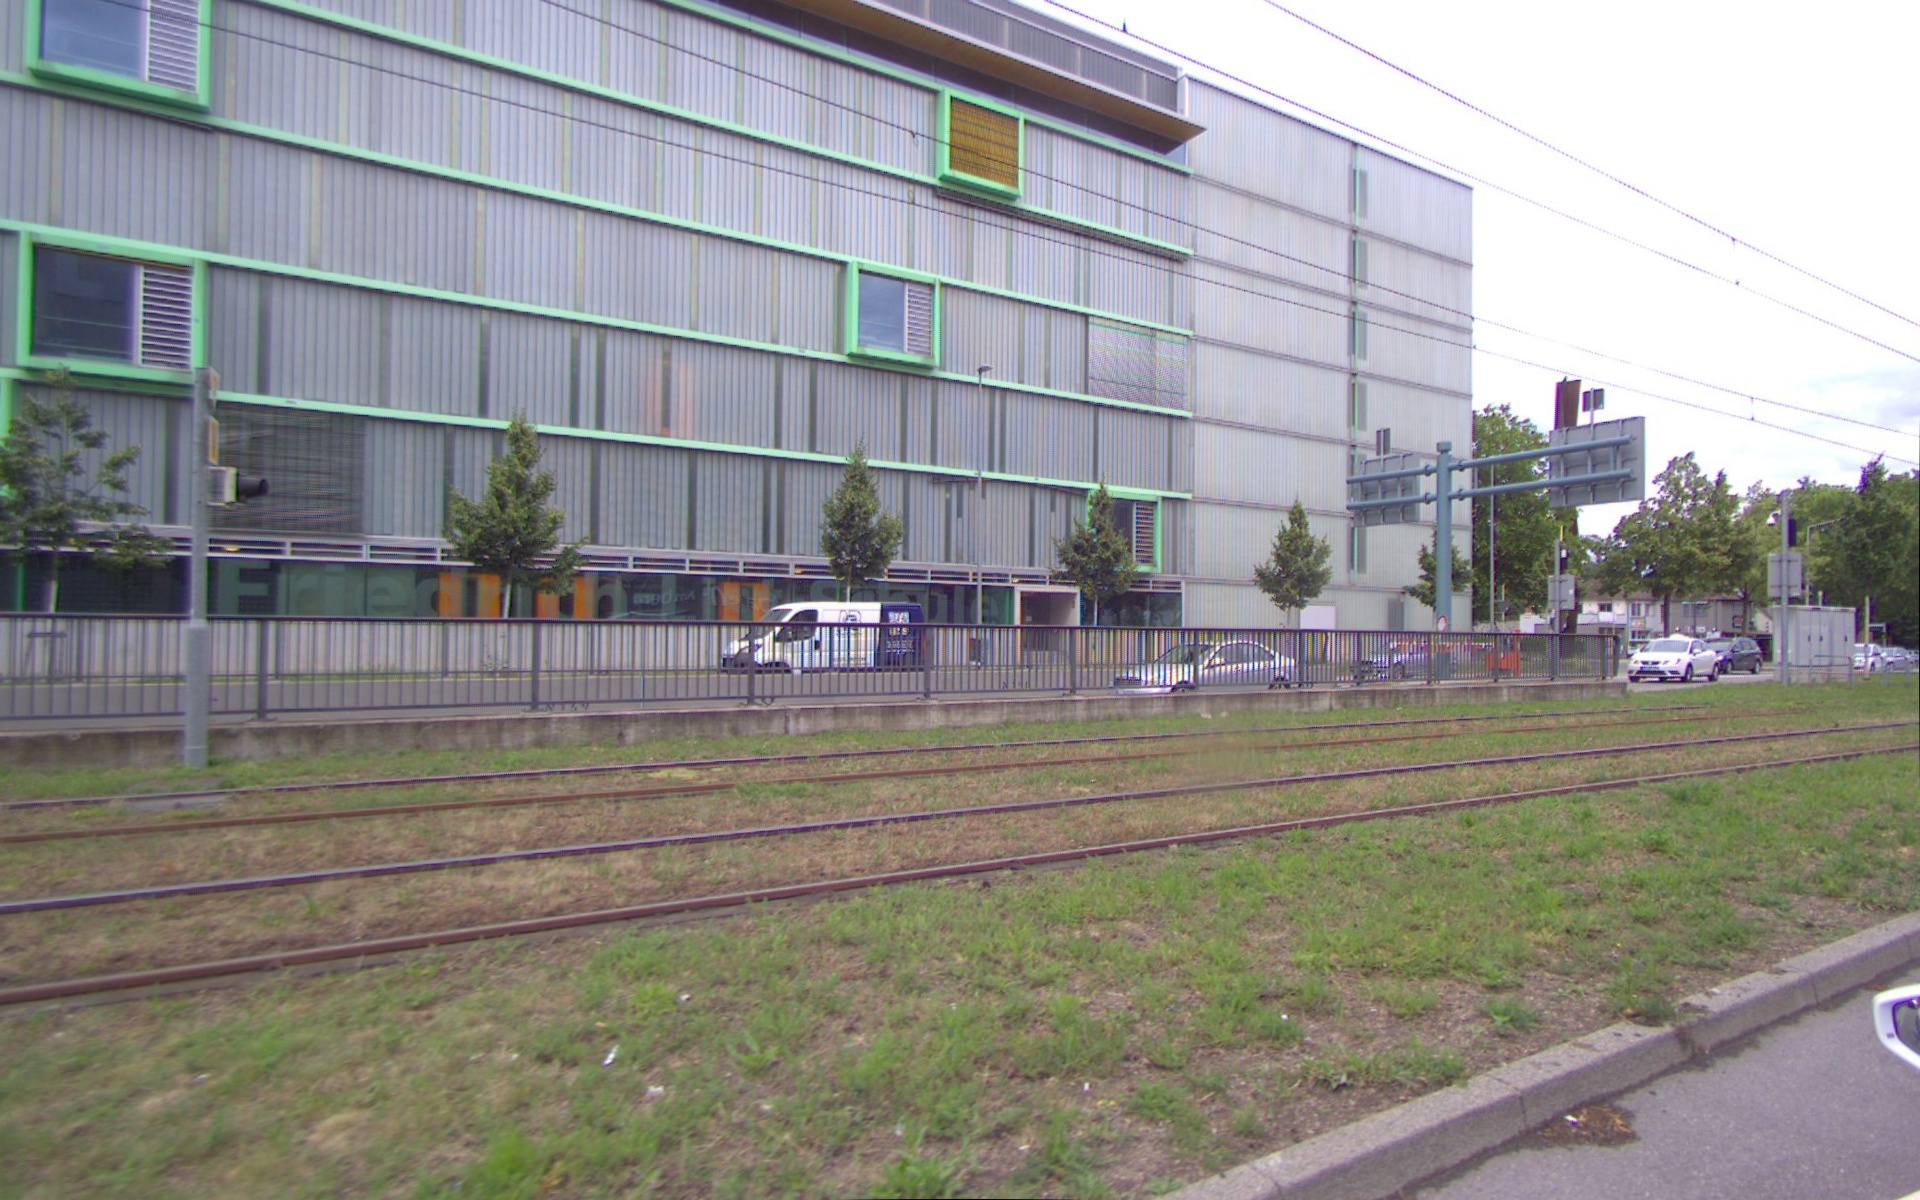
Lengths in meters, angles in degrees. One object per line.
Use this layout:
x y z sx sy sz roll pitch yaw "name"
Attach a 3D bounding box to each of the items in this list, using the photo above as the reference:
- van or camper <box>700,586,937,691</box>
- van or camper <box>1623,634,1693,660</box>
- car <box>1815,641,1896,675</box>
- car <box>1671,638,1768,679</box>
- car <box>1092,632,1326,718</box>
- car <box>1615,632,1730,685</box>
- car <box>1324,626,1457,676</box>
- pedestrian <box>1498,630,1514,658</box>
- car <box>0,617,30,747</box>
-3.398 0.915 24.497 5.296 2.317 2.162 1 -1 -31 "van or camper"
58.603 3.908 84.481 2.416 2.040 5.283 1 -1 3 "van or camper"
41.736 2.691 46.811 4.525 1.498 1.752 2 -3 -34 "car"
36.718 2.796 48.533 4.909 1.848 1.984 2 -1 -30 "car"
5.191 1.453 20.692 4.915 1.535 1.772 1 -1 -32 "car"
23.712 1.893 33.386 4.340 1.607 1.978 2 -2 -38 "car"
15.296 1.784 35.643 4.592 1.688 1.984 2 -2 -30 "car"
40.077 3.197 73.767 0.887 2.040 0.954 0 -1 18 "pedestrian"
-17.888 1.441 15.415 4.917 2.041 1.982 -3 2 -33 "car"
